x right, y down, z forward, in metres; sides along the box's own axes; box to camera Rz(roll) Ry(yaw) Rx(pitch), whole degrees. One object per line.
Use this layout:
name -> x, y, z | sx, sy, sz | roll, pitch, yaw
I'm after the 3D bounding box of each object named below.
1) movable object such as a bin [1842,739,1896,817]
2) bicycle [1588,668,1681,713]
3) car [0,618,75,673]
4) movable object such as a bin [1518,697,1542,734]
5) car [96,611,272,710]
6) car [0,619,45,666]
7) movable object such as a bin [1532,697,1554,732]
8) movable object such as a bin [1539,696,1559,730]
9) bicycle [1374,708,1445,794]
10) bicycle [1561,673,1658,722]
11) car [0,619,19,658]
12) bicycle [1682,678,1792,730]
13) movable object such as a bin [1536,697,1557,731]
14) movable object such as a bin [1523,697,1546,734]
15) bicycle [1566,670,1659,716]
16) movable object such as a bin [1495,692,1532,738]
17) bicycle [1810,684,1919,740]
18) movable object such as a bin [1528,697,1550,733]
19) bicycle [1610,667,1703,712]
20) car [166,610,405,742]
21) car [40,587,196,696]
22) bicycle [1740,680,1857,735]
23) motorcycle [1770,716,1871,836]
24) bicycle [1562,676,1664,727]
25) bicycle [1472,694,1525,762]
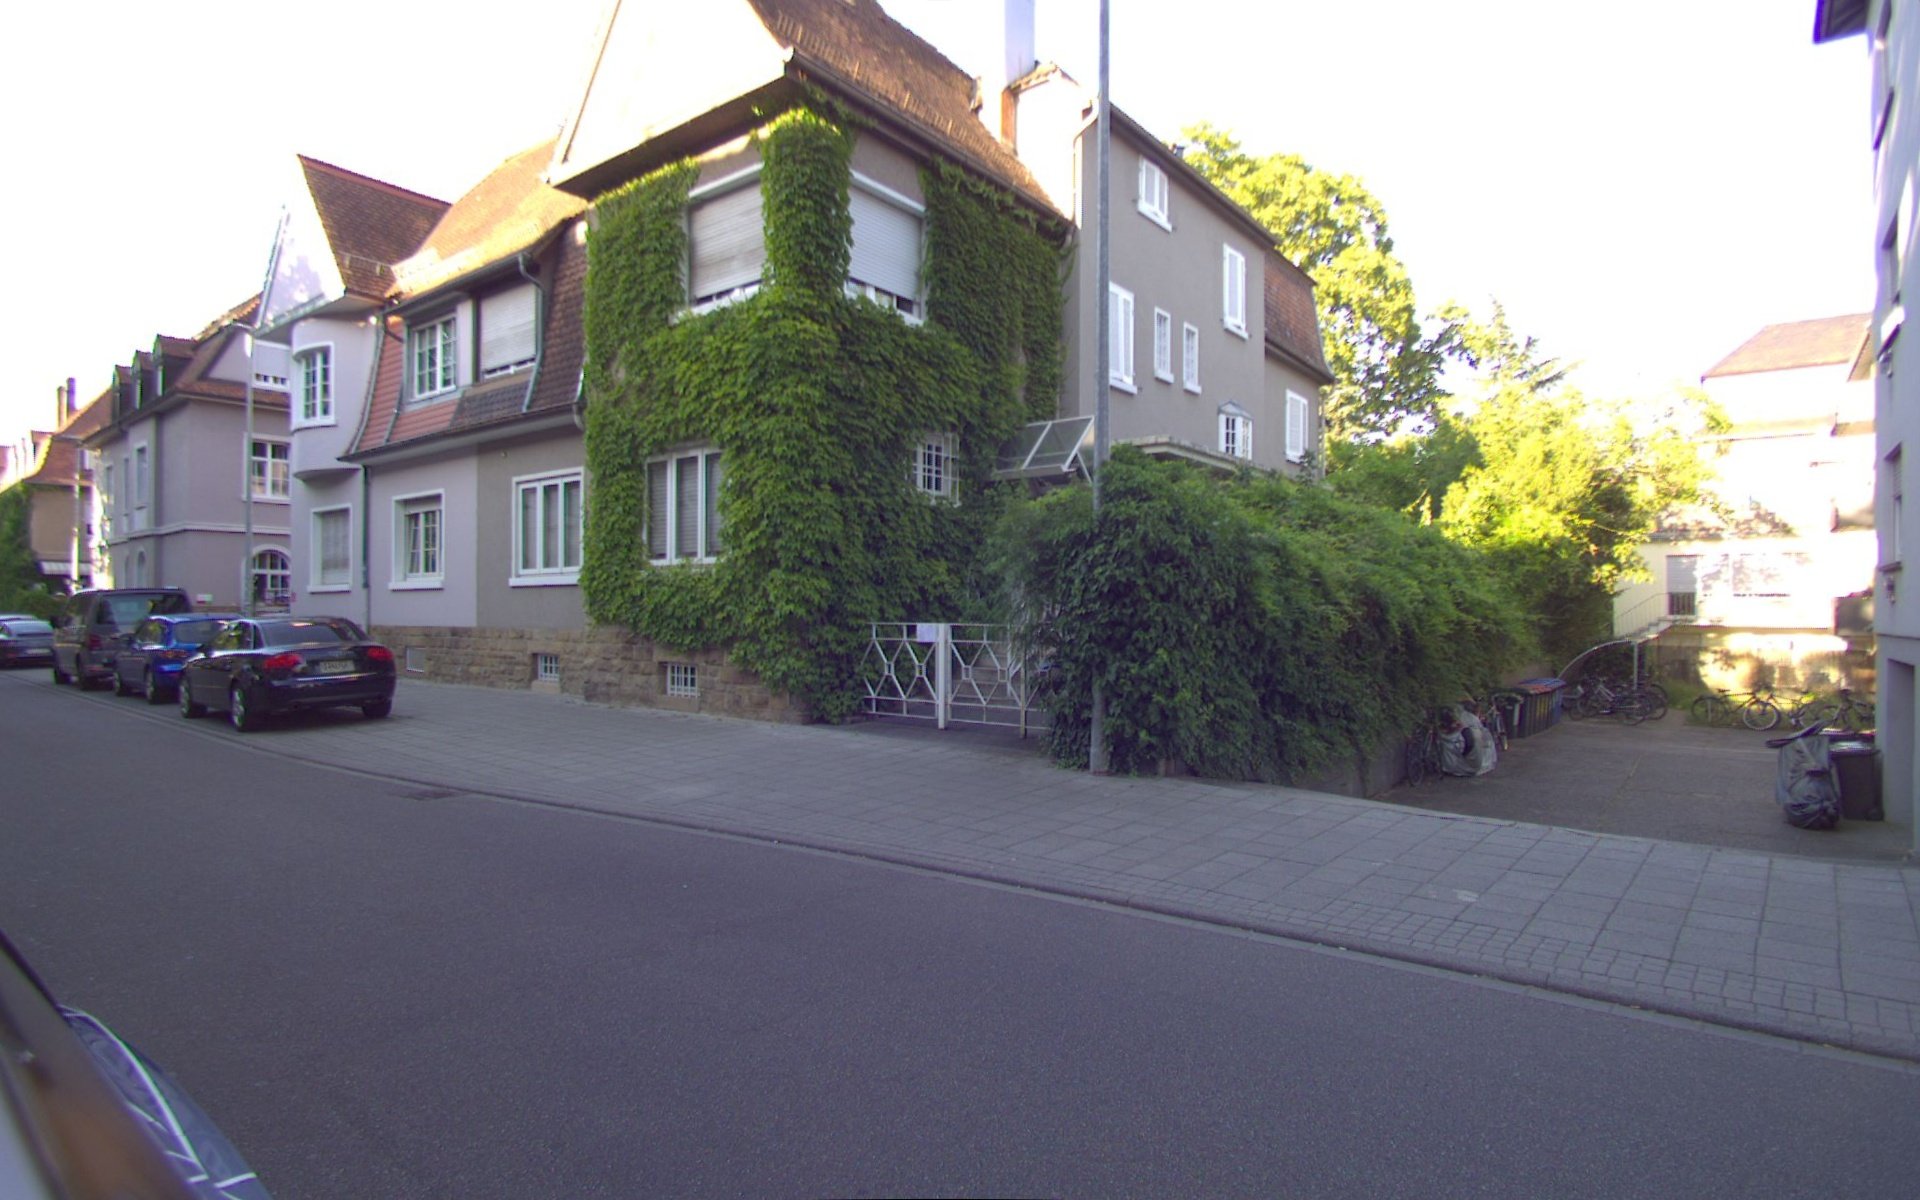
movable object such as a bin -> 11.758, 2.290, 13.102 | 0.432, 0.894, 0.717 | -1, -3, 37
bicycle -> 18.613, 2.483, 27.943 | 2.068, 1.028, 0.608 | 1, 3, 41
car -> -26.339, 1.223, 28.337 | 4.331, 1.381, 1.698 | -1, 1, 40
movable object such as a bin -> 12.493, 2.529, 22.168 | 0.398, 0.779, 0.359 | -1, -4, 41
car -> -13.747, 0.970, 17.856 | 4.021, 1.475, 1.591 | 0, 2, 40
car -> -30.288, 1.325, 31.965 | 3.942, 1.381, 1.522 | -1, 1, 40
movable object such as a bin -> 13.281, 2.604, 23.062 | 0.367, 0.764, 0.359 | -1, -4, 41
movable object such as a bin -> 13.781, 2.646, 23.663 | 0.346, 0.764, 0.359 | -1, -4, 41
bicycle -> 6.760, 2.223, 15.169 | 0.514, 1.027, 1.914 | 1, 0, 38
bicycle -> 16.835, 2.507, 26.274 | 2.068, 1.028, 0.565 | 1, 3, 41
car -> -36.545, 1.435, 37.691 | 3.942, 1.381, 1.698 | -1, 1, 40
bicycle -> 18.712, 2.483, 24.397 | 2.068, 1.028, 0.634 | 1, 3, 41
movable object such as a bin -> 13.533, 2.628, 23.358 | 0.367, 0.764, 0.359 | -1, -4, 41
movable object such as a bin -> 12.758, 2.557, 22.457 | 0.381, 0.779, 0.359 | -1, -4, 41
bicycle -> 17.696, 2.496, 27.477 | 2.068, 1.028, 0.608 | 1, 3, 41
movable object such as a bin -> 11.540, 2.395, 21.100 | 0.576, 0.886, 0.488 | 0, -3, 41
bicycle -> 20.519, 2.514, 22.817 | 2.068, 1.028, 0.634 | 1, 3, 41
movable object such as a bin -> 13.019, 2.581, 22.769 | 0.375, 0.764, 0.359 | -1, -4, 41
bicycle -> 19.415, 2.473, 28.247 | 2.068, 1.028, 0.561 | 1, 3, 41
car -> -9.297, 0.913, 13.823 | 4.023, 1.439, 1.729 | 0, 2, 42
car -> -17.478, 0.770, 20.940 | 4.308, 1.987, 1.698 | 0, 2, 40
bicycle -> 19.572, 2.497, 23.659 | 2.068, 1.028, 0.634 | 1, 3, 41
motorcycle -> 10.705, 2.144, 12.639 | 0.757, 1.261, 1.575 | -1, -3, 34
bicycle -> 16.271, 2.515, 25.262 | 2.068, 1.028, 0.634 | 1, 3, 41
bicycle -> 9.954, 2.327, 18.676 | 0.514, 1.027, 1.914 | 1, 0, 38
